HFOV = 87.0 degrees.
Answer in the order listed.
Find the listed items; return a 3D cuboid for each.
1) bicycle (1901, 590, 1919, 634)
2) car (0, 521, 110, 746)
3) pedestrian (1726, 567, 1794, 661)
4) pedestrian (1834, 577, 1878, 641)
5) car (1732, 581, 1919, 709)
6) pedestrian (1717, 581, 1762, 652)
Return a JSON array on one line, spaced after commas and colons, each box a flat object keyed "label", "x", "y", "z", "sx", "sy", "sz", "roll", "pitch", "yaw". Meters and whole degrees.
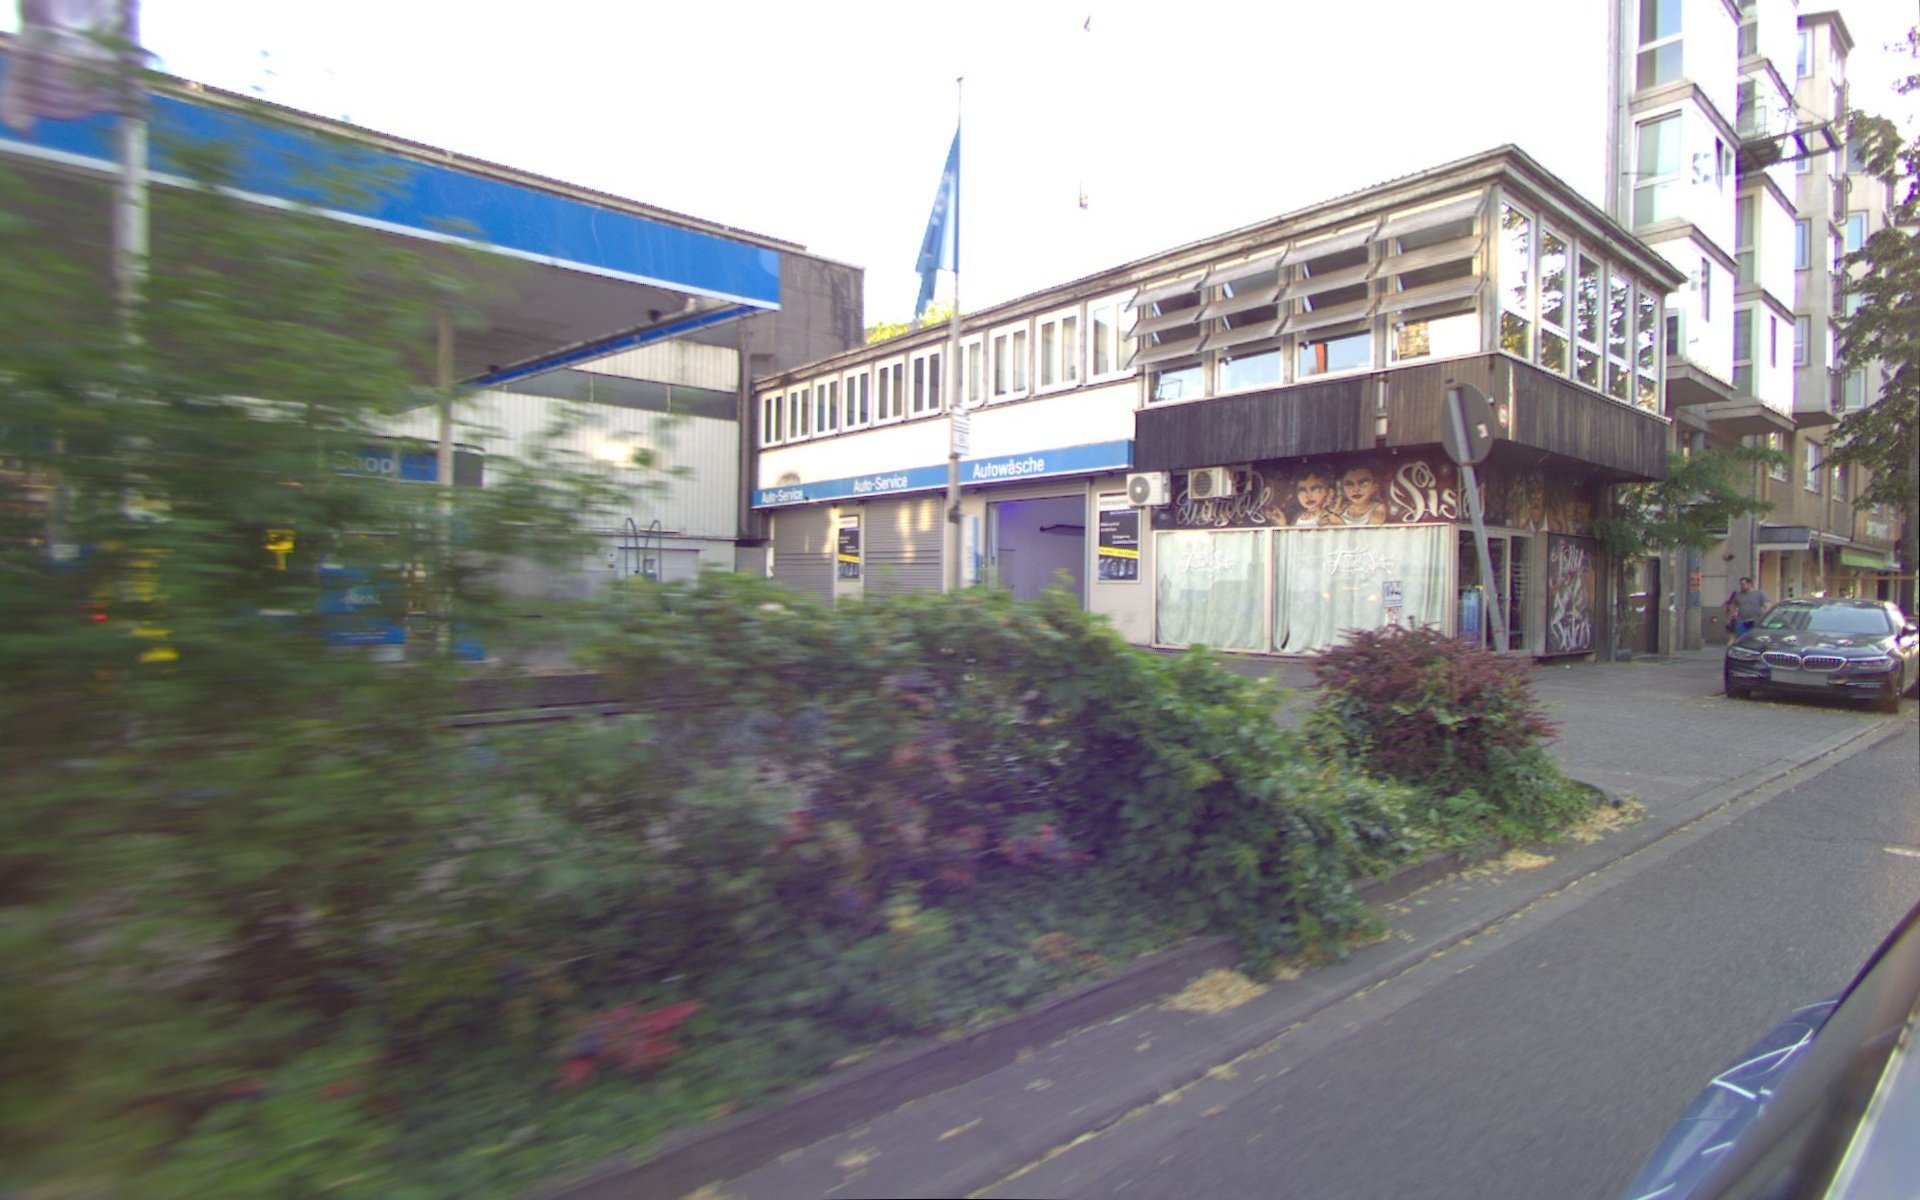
[{"label": "bicycle", "x": 29.515, "y": 0.370, "z": 30.950, "sx": 2.014, "sy": 1.277, "sz": 0.777, "roll": 0, "pitch": 3, "yaw": -40}, {"label": "car", "x": -8.147, "y": 0.230, "z": 5.930, "sx": 4.823, "sy": 1.448, "sz": 1.738, "roll": -2, "pitch": 3, "yaw": -41}, {"label": "pedestrian", "x": 15.996, "y": 0.262, "z": 20.234, "sx": 0.979, "sy": 1.816, "sz": 0.857, "roll": 0, "pitch": 2, "yaw": -41}, {"label": "pedestrian", "x": 24.891, "y": 0.232, "z": 28.117, "sx": 0.688, "sy": 1.725, "sz": 0.789, "roll": 0, "pitch": 2, "yaw": -40}, {"label": "car", "x": 12.934, "y": 0.527, "z": 14.740, "sx": 4.767, "sy": 1.506, "sz": 1.832, "roll": 0, "pitch": 3, "yaw": -42}, {"label": "pedestrian", "x": 17.437, "y": 0.350, "z": 22.630, "sx": 0.759, "sy": 1.544, "sz": 0.612, "roll": 0, "pitch": 2, "yaw": -40}]
